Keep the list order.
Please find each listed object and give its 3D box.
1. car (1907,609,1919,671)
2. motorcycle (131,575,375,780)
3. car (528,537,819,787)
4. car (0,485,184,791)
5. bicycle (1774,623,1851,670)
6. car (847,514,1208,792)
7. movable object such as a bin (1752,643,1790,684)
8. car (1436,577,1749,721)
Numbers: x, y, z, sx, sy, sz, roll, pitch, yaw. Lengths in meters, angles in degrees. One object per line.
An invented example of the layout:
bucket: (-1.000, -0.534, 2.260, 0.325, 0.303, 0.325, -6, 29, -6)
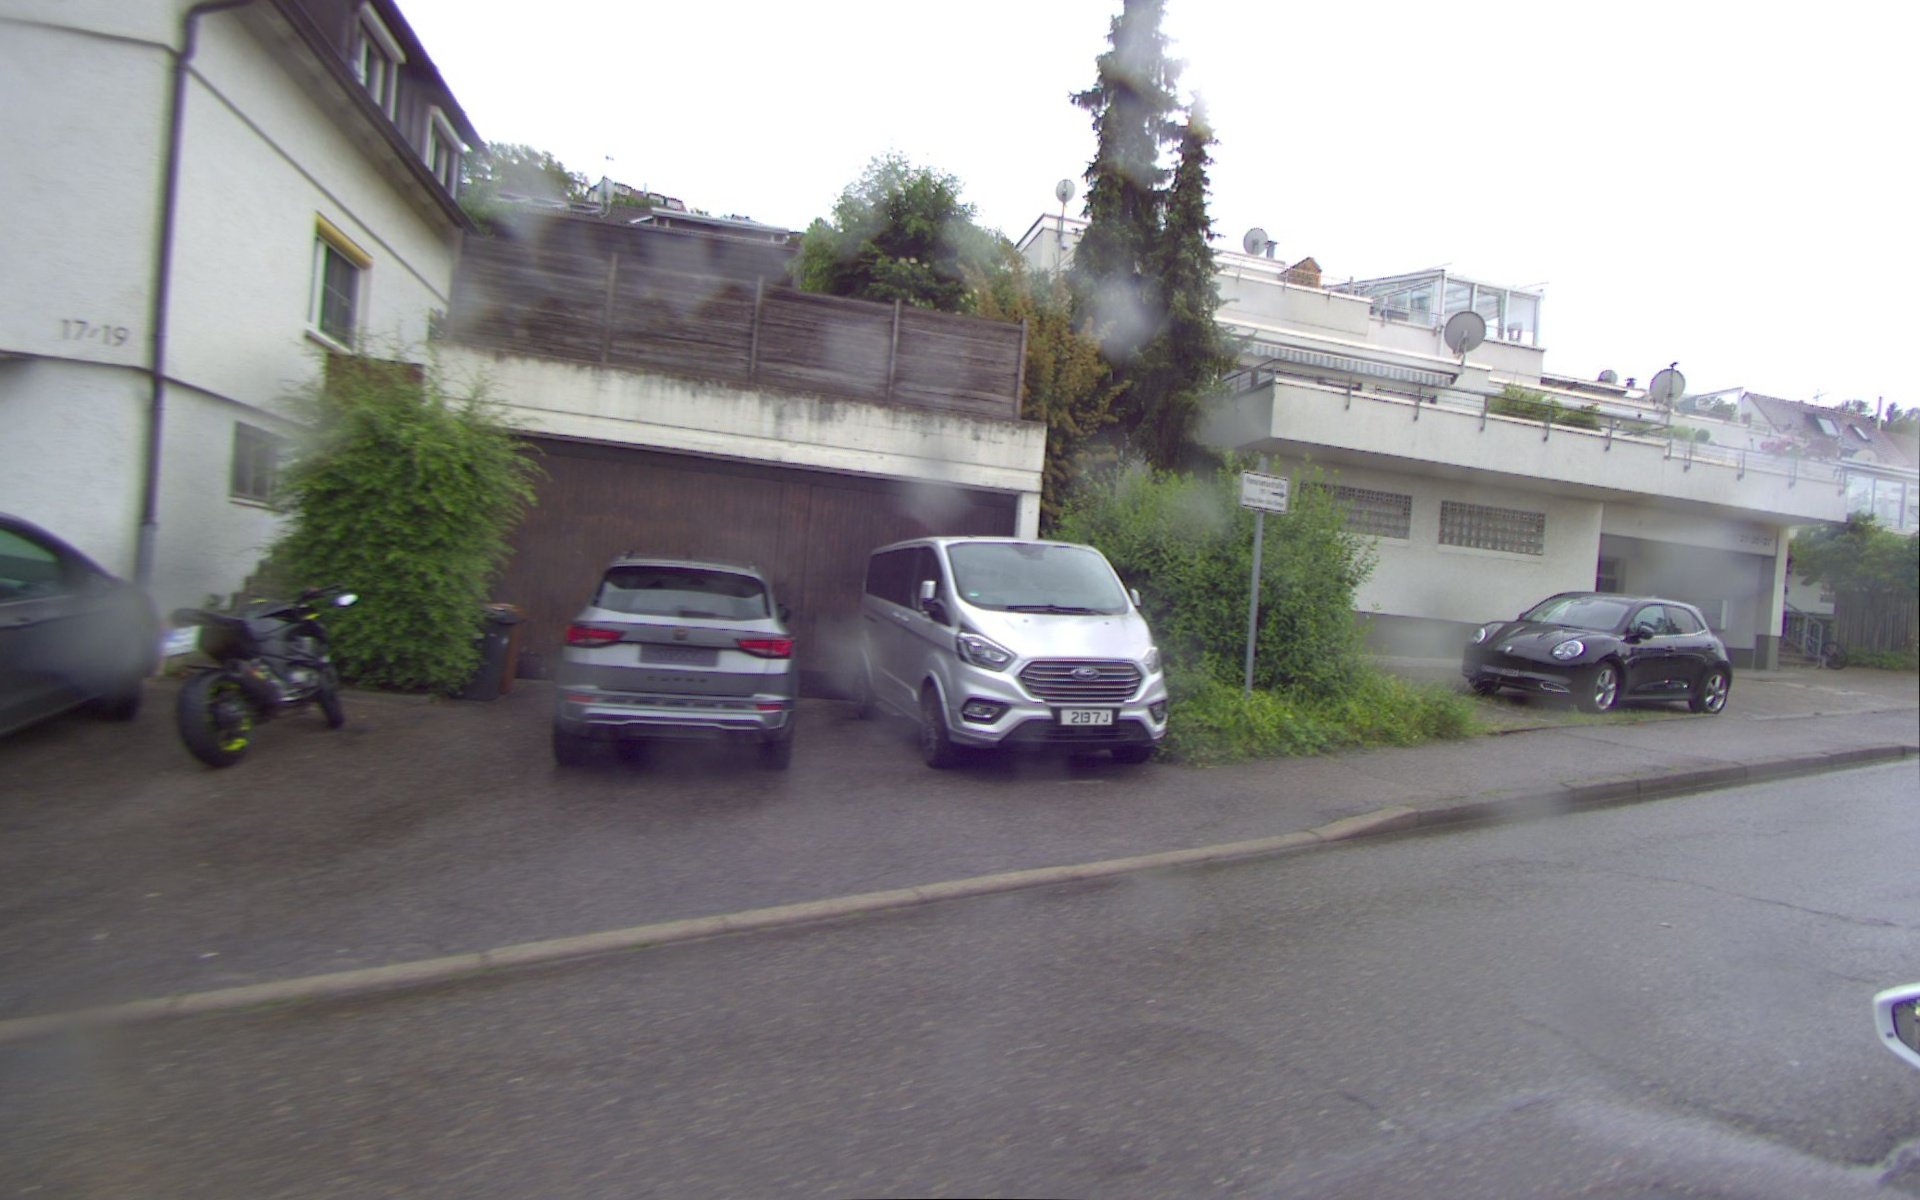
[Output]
car: (24.695, 1.018, 24.243, 3.914, 1.454, 1.598, 1, 4, -31)
motorcycle: (-4.889, 0.464, 7.099, 0.629, 1.186, 1.783, 4, 3, -9)
car: (-2.394, 0.397, 8.852, 1.861, 1.660, 4.056, 2, 1, -13)
car: (-6.288, 0.171, 5.486, 1.863, 1.715, 4.052, 2, 3, -16)
bicycle: (20.837, 1.121, 24.599, 0.469, 1.020, 1.568, 2, 2, -1)
car: (0.265, 0.419, 9.853, 2.105, 1.970, 5.088, 1, -1, -13)
movable object such as a bin: (21.953, 1.720, 27.188, 0.552, 1.055, 0.546, 2, 2, -16)
car: (8.832, 0.629, 14.001, 4.143, 1.610, 1.682, 1, 7, -27)
